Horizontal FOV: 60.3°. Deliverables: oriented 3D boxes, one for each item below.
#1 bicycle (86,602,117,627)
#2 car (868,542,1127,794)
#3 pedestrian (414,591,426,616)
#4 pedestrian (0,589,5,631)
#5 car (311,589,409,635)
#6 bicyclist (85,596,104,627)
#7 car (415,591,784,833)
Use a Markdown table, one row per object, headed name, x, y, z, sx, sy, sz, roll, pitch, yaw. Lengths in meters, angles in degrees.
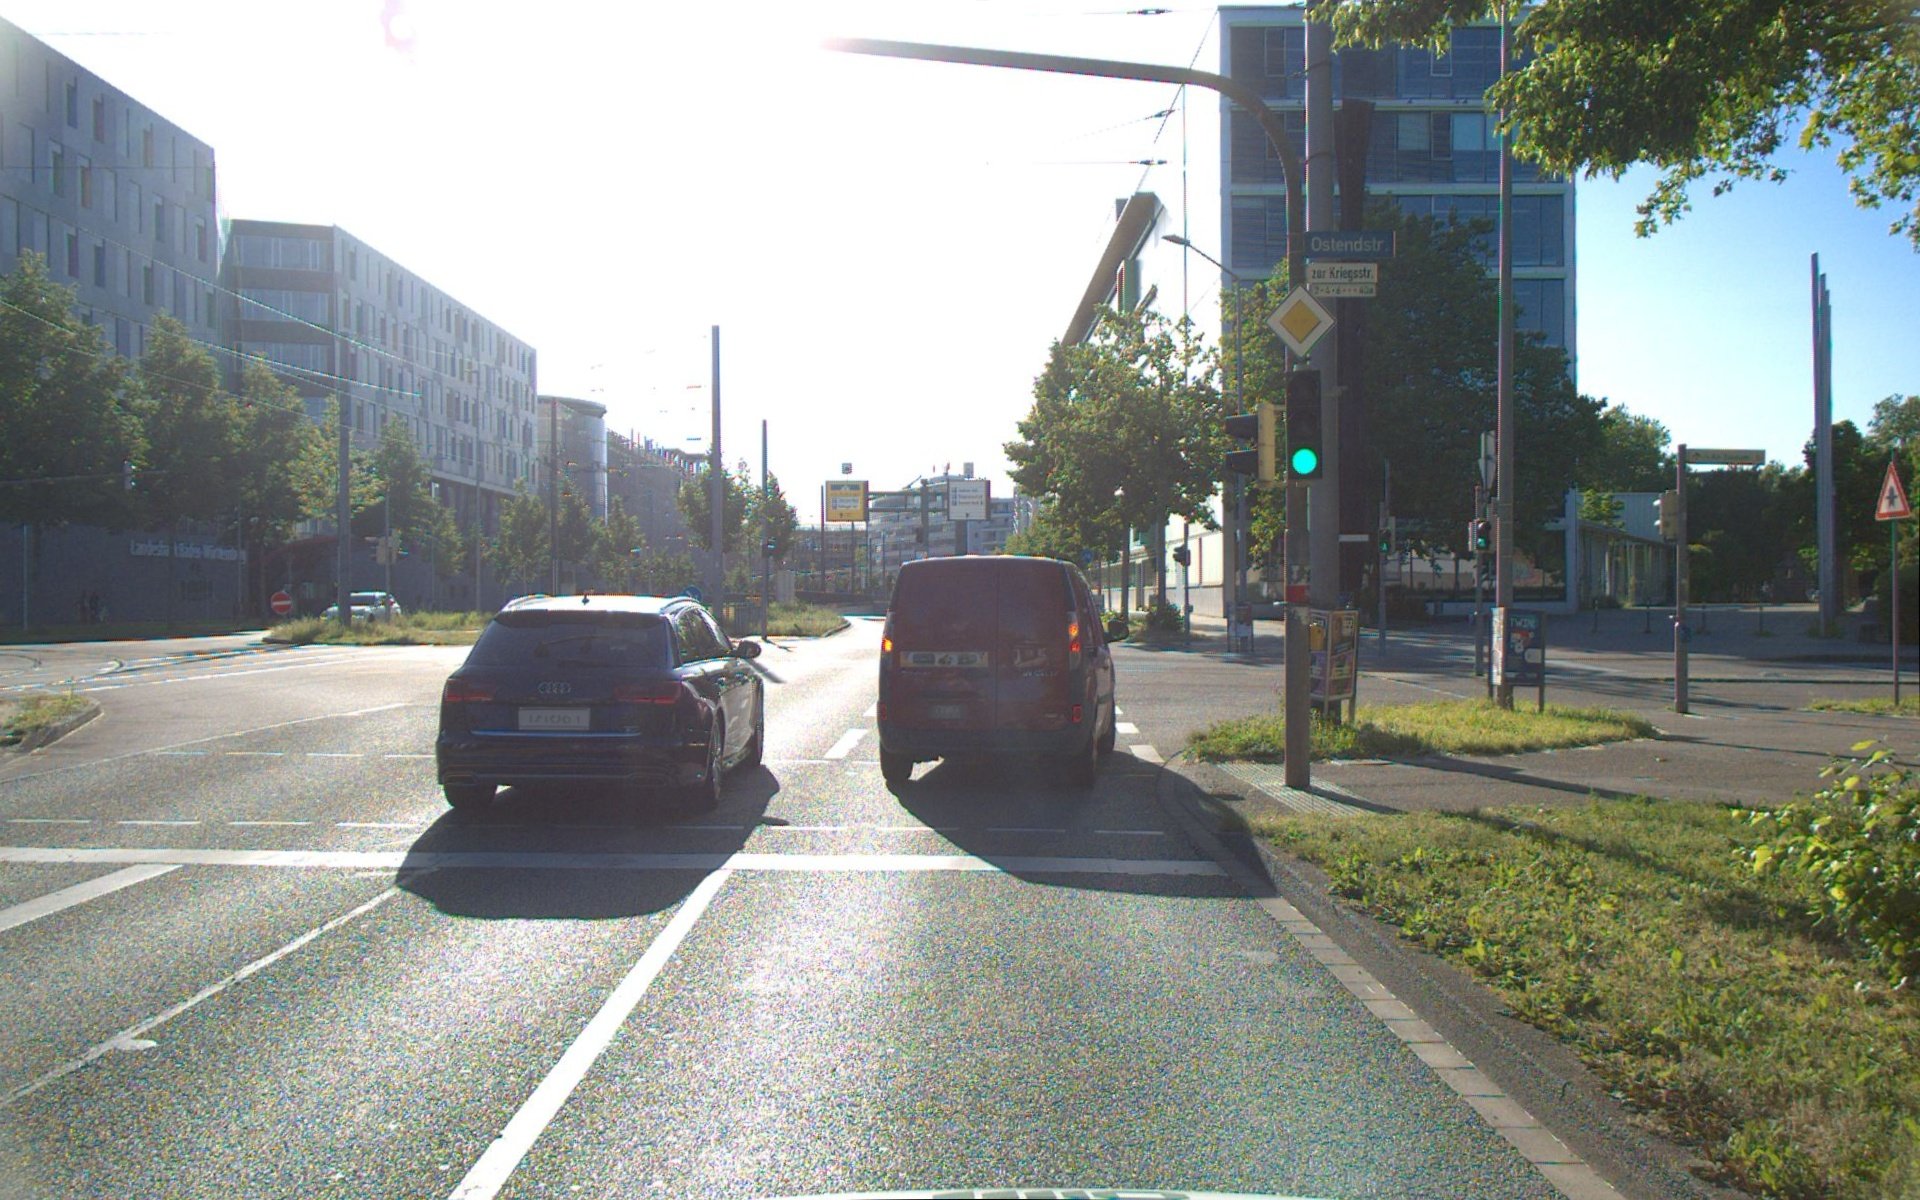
| name | x | y | z | sx | sy | sz | roll | pitch | yaw |
| --- | --- | --- | --- | --- | --- | --- | --- | --- | --- |
| bicycle | -42.950 | 0.725 | 82.781 | 0.509 | 1.193 | 1.975 | 0 | 0 | -1 |
| car | 0.477 | 0.501 | 14.478 | 1.809 | 1.846 | 4.117 | 1 | 0 | 7 |
| pedestrian | -44.431 | 0.323 | 136.019 | 0.721 | 2.049 | 0.689 | 0 | 0 | 0 |
| pedestrian | -42.269 | 0.430 | 72.154 | 0.706 | 1.854 | 0.871 | 0 | 0 | 0 |
| car | -21.988 | 0.402 | 60.838 | 1.953 | 1.589 | 4.870 | 0 | 0 | -2 |
| bicyclist | -43.300 | 0.565 | 82.778 | 0.547 | 1.522 | 0.763 | 0 | 0 | -1 |
| car | -2.471 | 0.681 | 12.552 | 1.775 | 1.452 | 4.689 | 1 | 0 | -1 |
